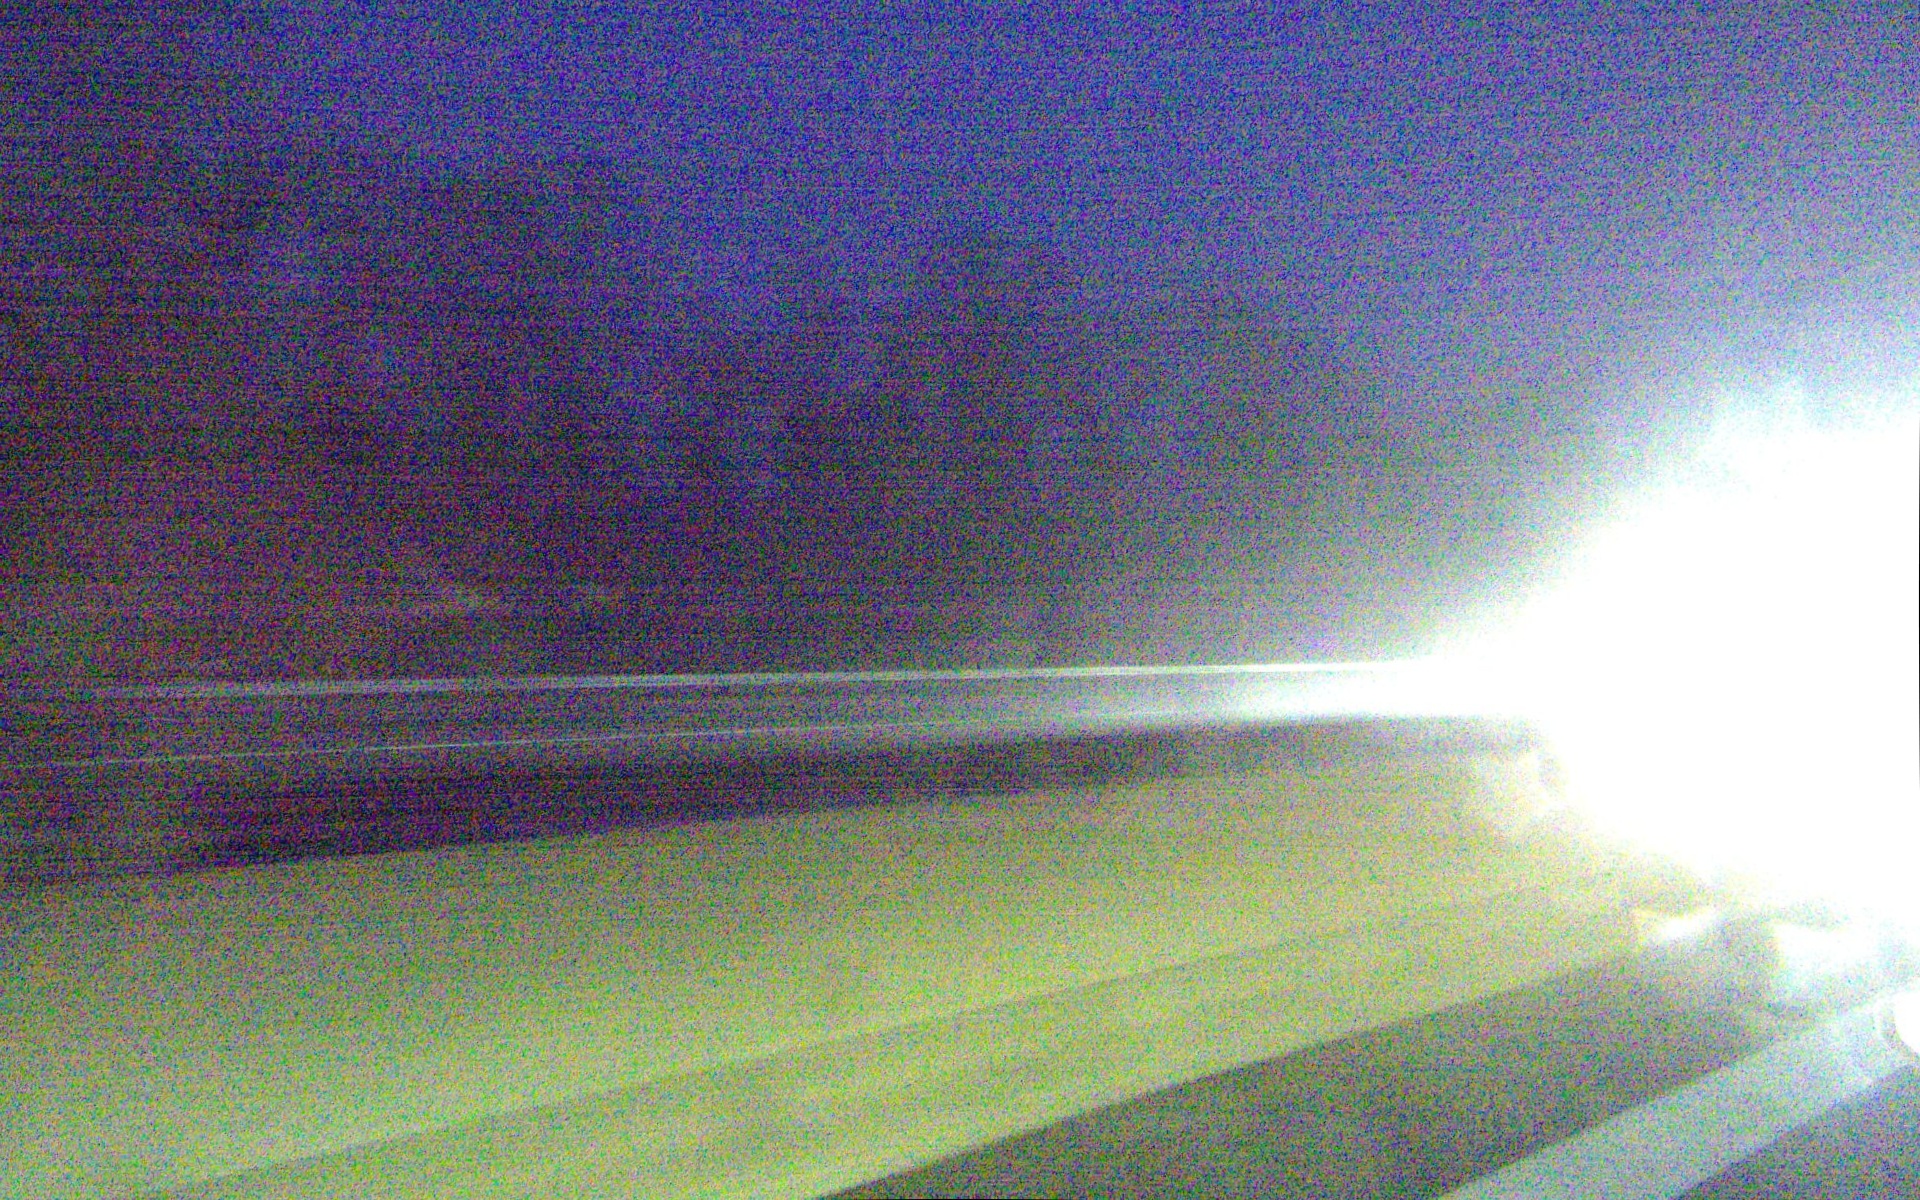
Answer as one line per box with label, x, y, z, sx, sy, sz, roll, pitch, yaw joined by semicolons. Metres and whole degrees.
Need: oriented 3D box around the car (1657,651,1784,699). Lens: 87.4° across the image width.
car;25.227;2.438;33.298;4.239;1.363;1.952;1;0;-31
